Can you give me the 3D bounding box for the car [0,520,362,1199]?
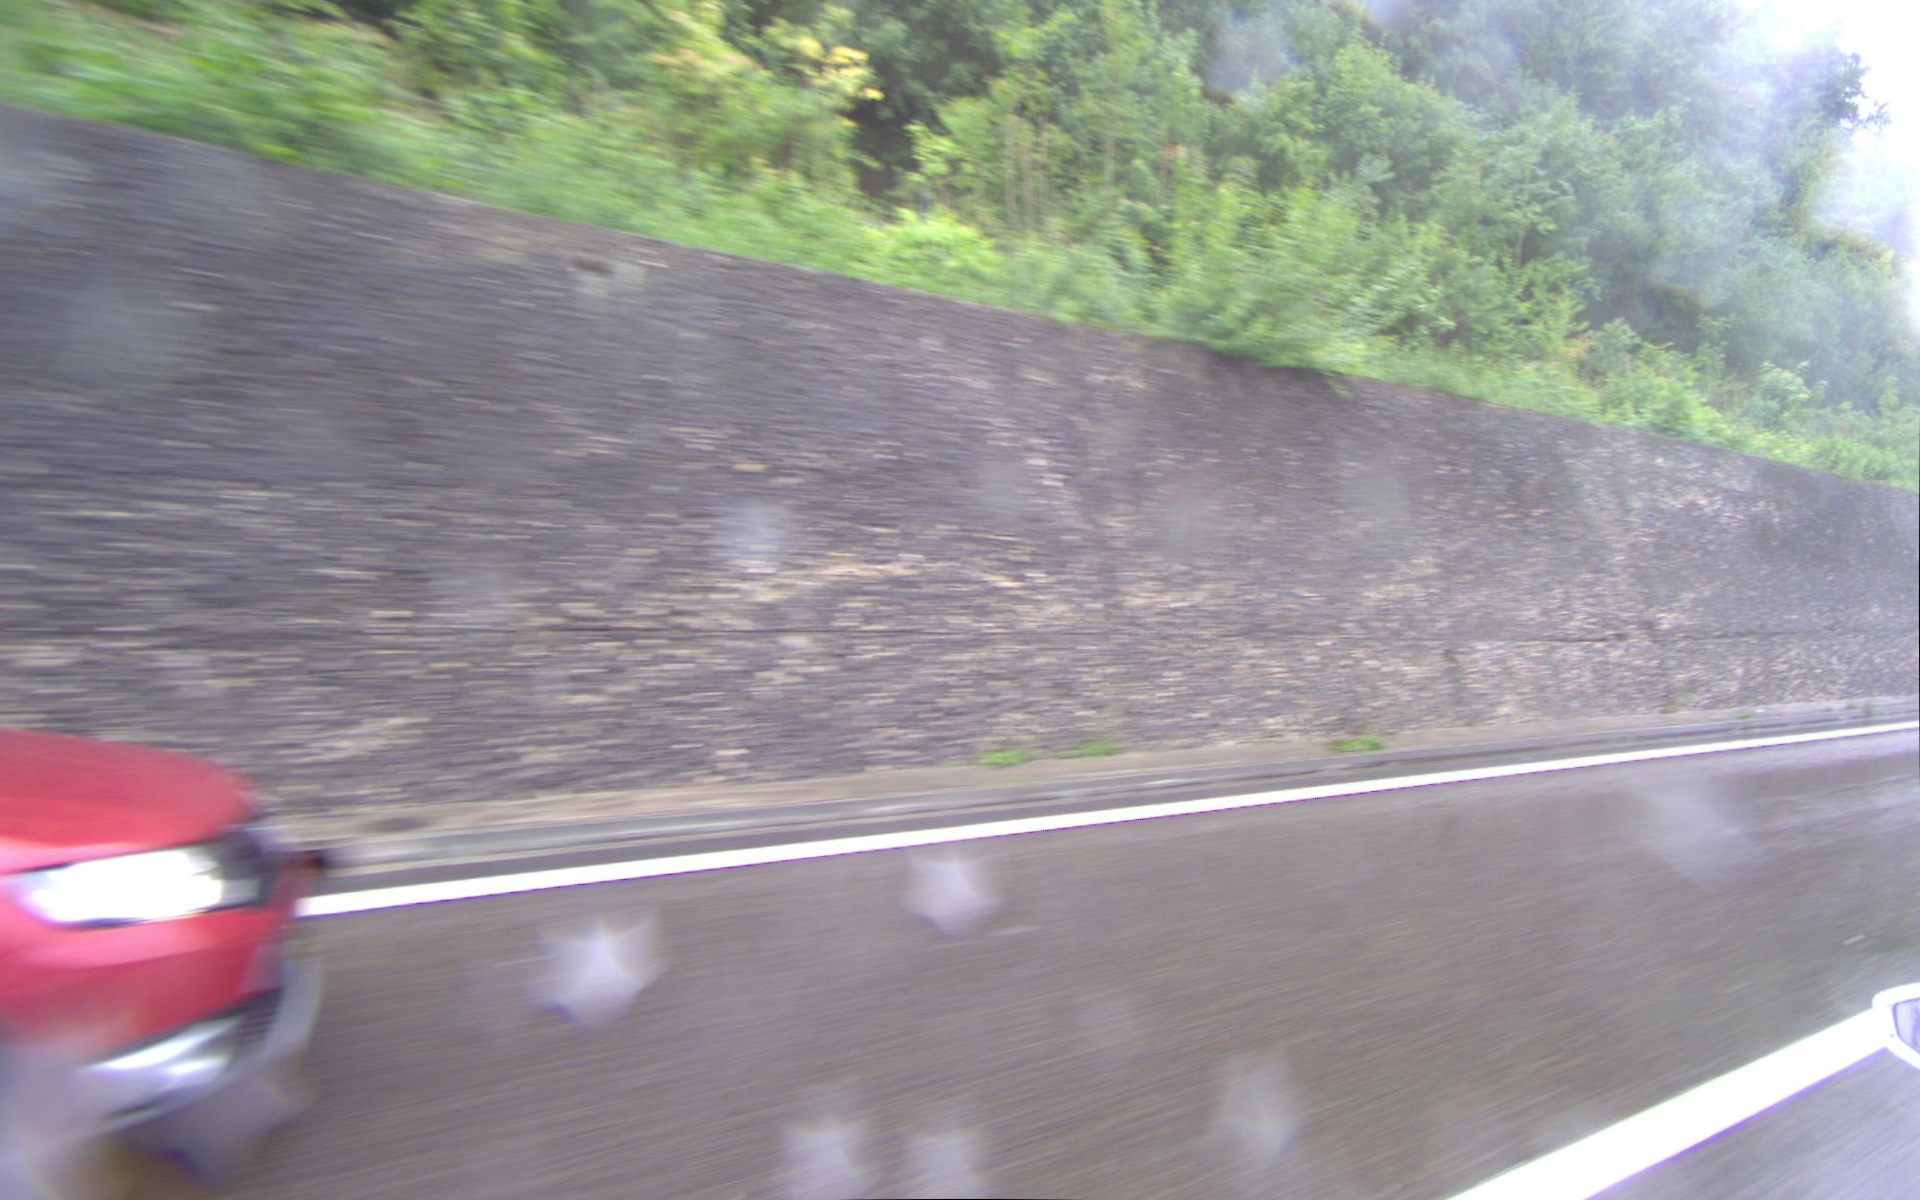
[{"bbox_3d":[-3.562,0.614,2.010,3.951,1.572,1.985,1,0,-29],"label":"car"}]
